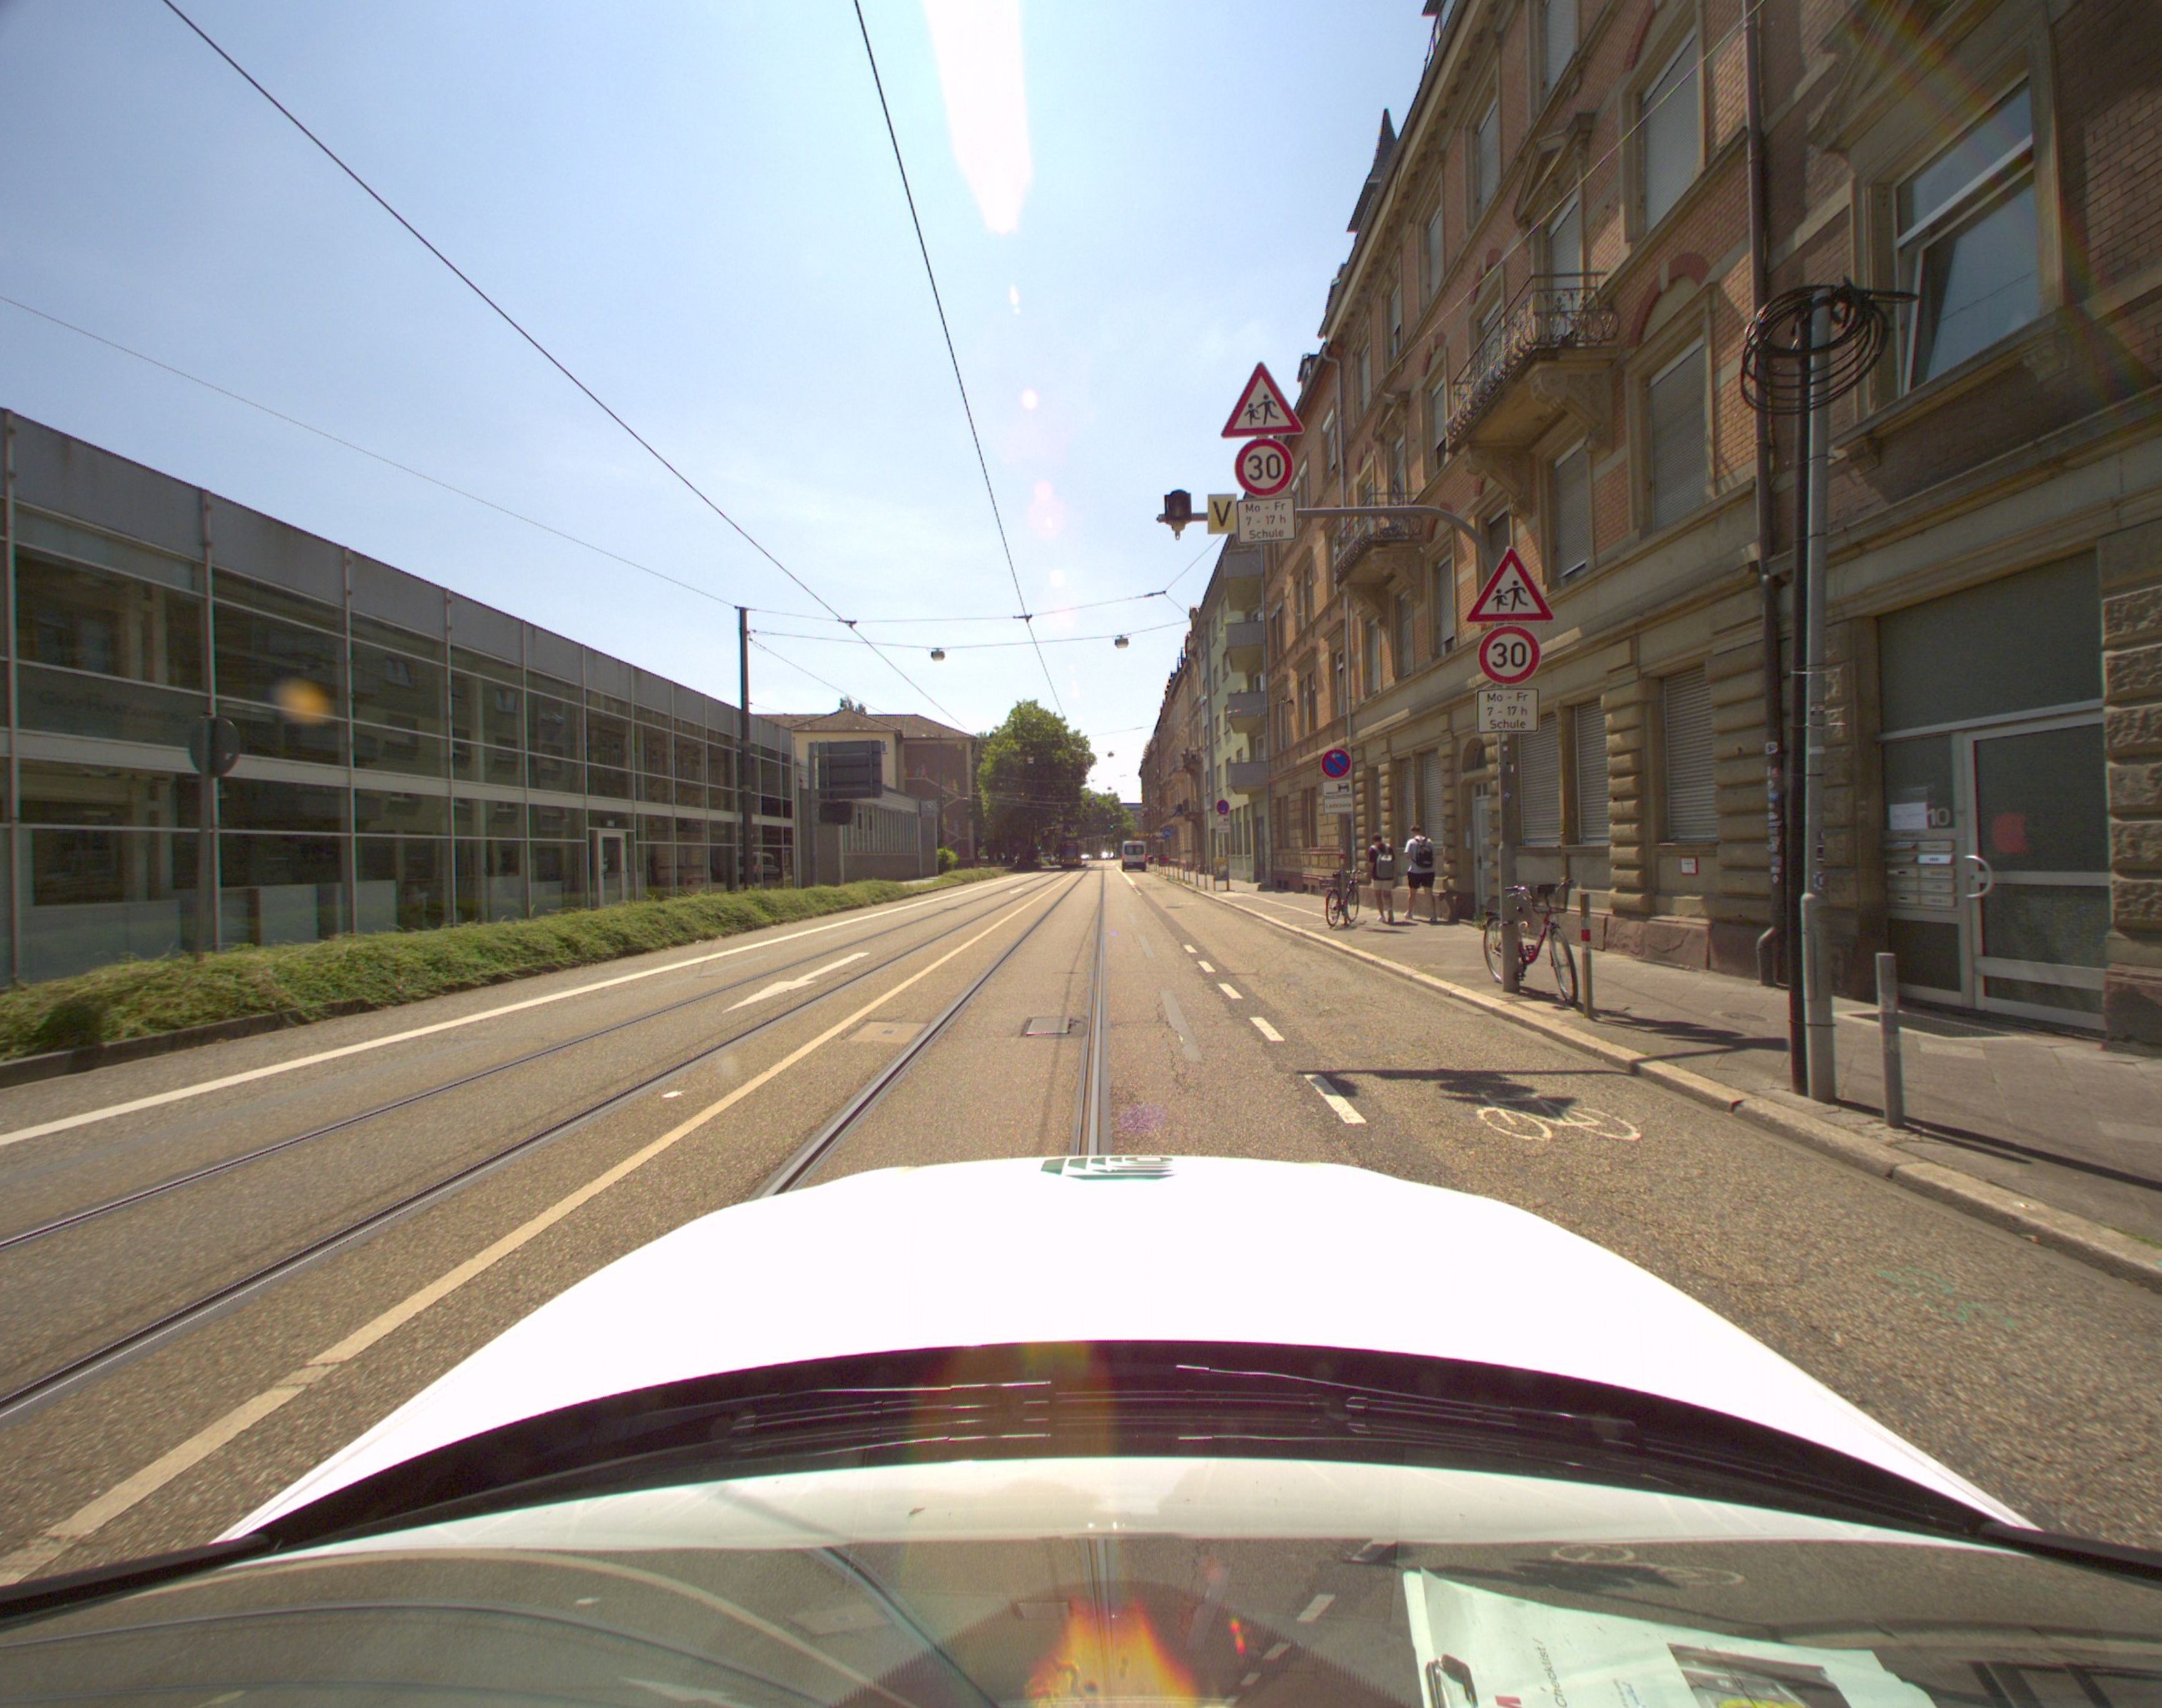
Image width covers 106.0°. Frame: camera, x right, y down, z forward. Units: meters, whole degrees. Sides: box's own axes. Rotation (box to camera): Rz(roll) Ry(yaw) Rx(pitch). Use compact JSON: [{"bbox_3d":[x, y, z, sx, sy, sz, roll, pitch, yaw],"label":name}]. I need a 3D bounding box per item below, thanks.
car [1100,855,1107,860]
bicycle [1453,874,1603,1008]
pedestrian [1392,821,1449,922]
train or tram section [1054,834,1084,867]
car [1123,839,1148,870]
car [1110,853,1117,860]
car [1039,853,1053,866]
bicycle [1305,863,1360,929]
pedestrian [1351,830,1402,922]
[{"bbox_3d":[5.665,0.870,205.605,1.523,1.408,3.488,-1,0,-1],"label":"car"},{"bbox_3d":[4.466,0.797,8.341,0.445,1.097,2.427,-2,0,7],"label":"bicycle"},{"bbox_3d":[6.527,0.334,15.689,0.699,1.848,0.644,-5,-1,2],"label":"pedestrian"},{"bbox_3d":[-1.260,-0.359,96.305,2.950,3.580,13.426,-1,0,1],"label":"train or tram section"},{"bbox_3d":[4.616,0.070,69.575,2.059,2.501,5.458,-1,0,3],"label":"car"},{"bbox_3d":[8.408,0.570,212.893,1.669,1.860,3.998,-1,0,-1],"label":"car"},{"bbox_3d":[-5.147,0.841,119.905,1.795,1.923,3.999,-1,0,-1],"label":"car"},{"bbox_3d":[4.914,0.784,15.818,0.494,1.130,2.257,-2,0,30],"label":"bicycle"},{"bbox_3d":[5.733,0.421,15.815,0.717,1.720,0.644,-2,0,2],"label":"pedestrian"}]
